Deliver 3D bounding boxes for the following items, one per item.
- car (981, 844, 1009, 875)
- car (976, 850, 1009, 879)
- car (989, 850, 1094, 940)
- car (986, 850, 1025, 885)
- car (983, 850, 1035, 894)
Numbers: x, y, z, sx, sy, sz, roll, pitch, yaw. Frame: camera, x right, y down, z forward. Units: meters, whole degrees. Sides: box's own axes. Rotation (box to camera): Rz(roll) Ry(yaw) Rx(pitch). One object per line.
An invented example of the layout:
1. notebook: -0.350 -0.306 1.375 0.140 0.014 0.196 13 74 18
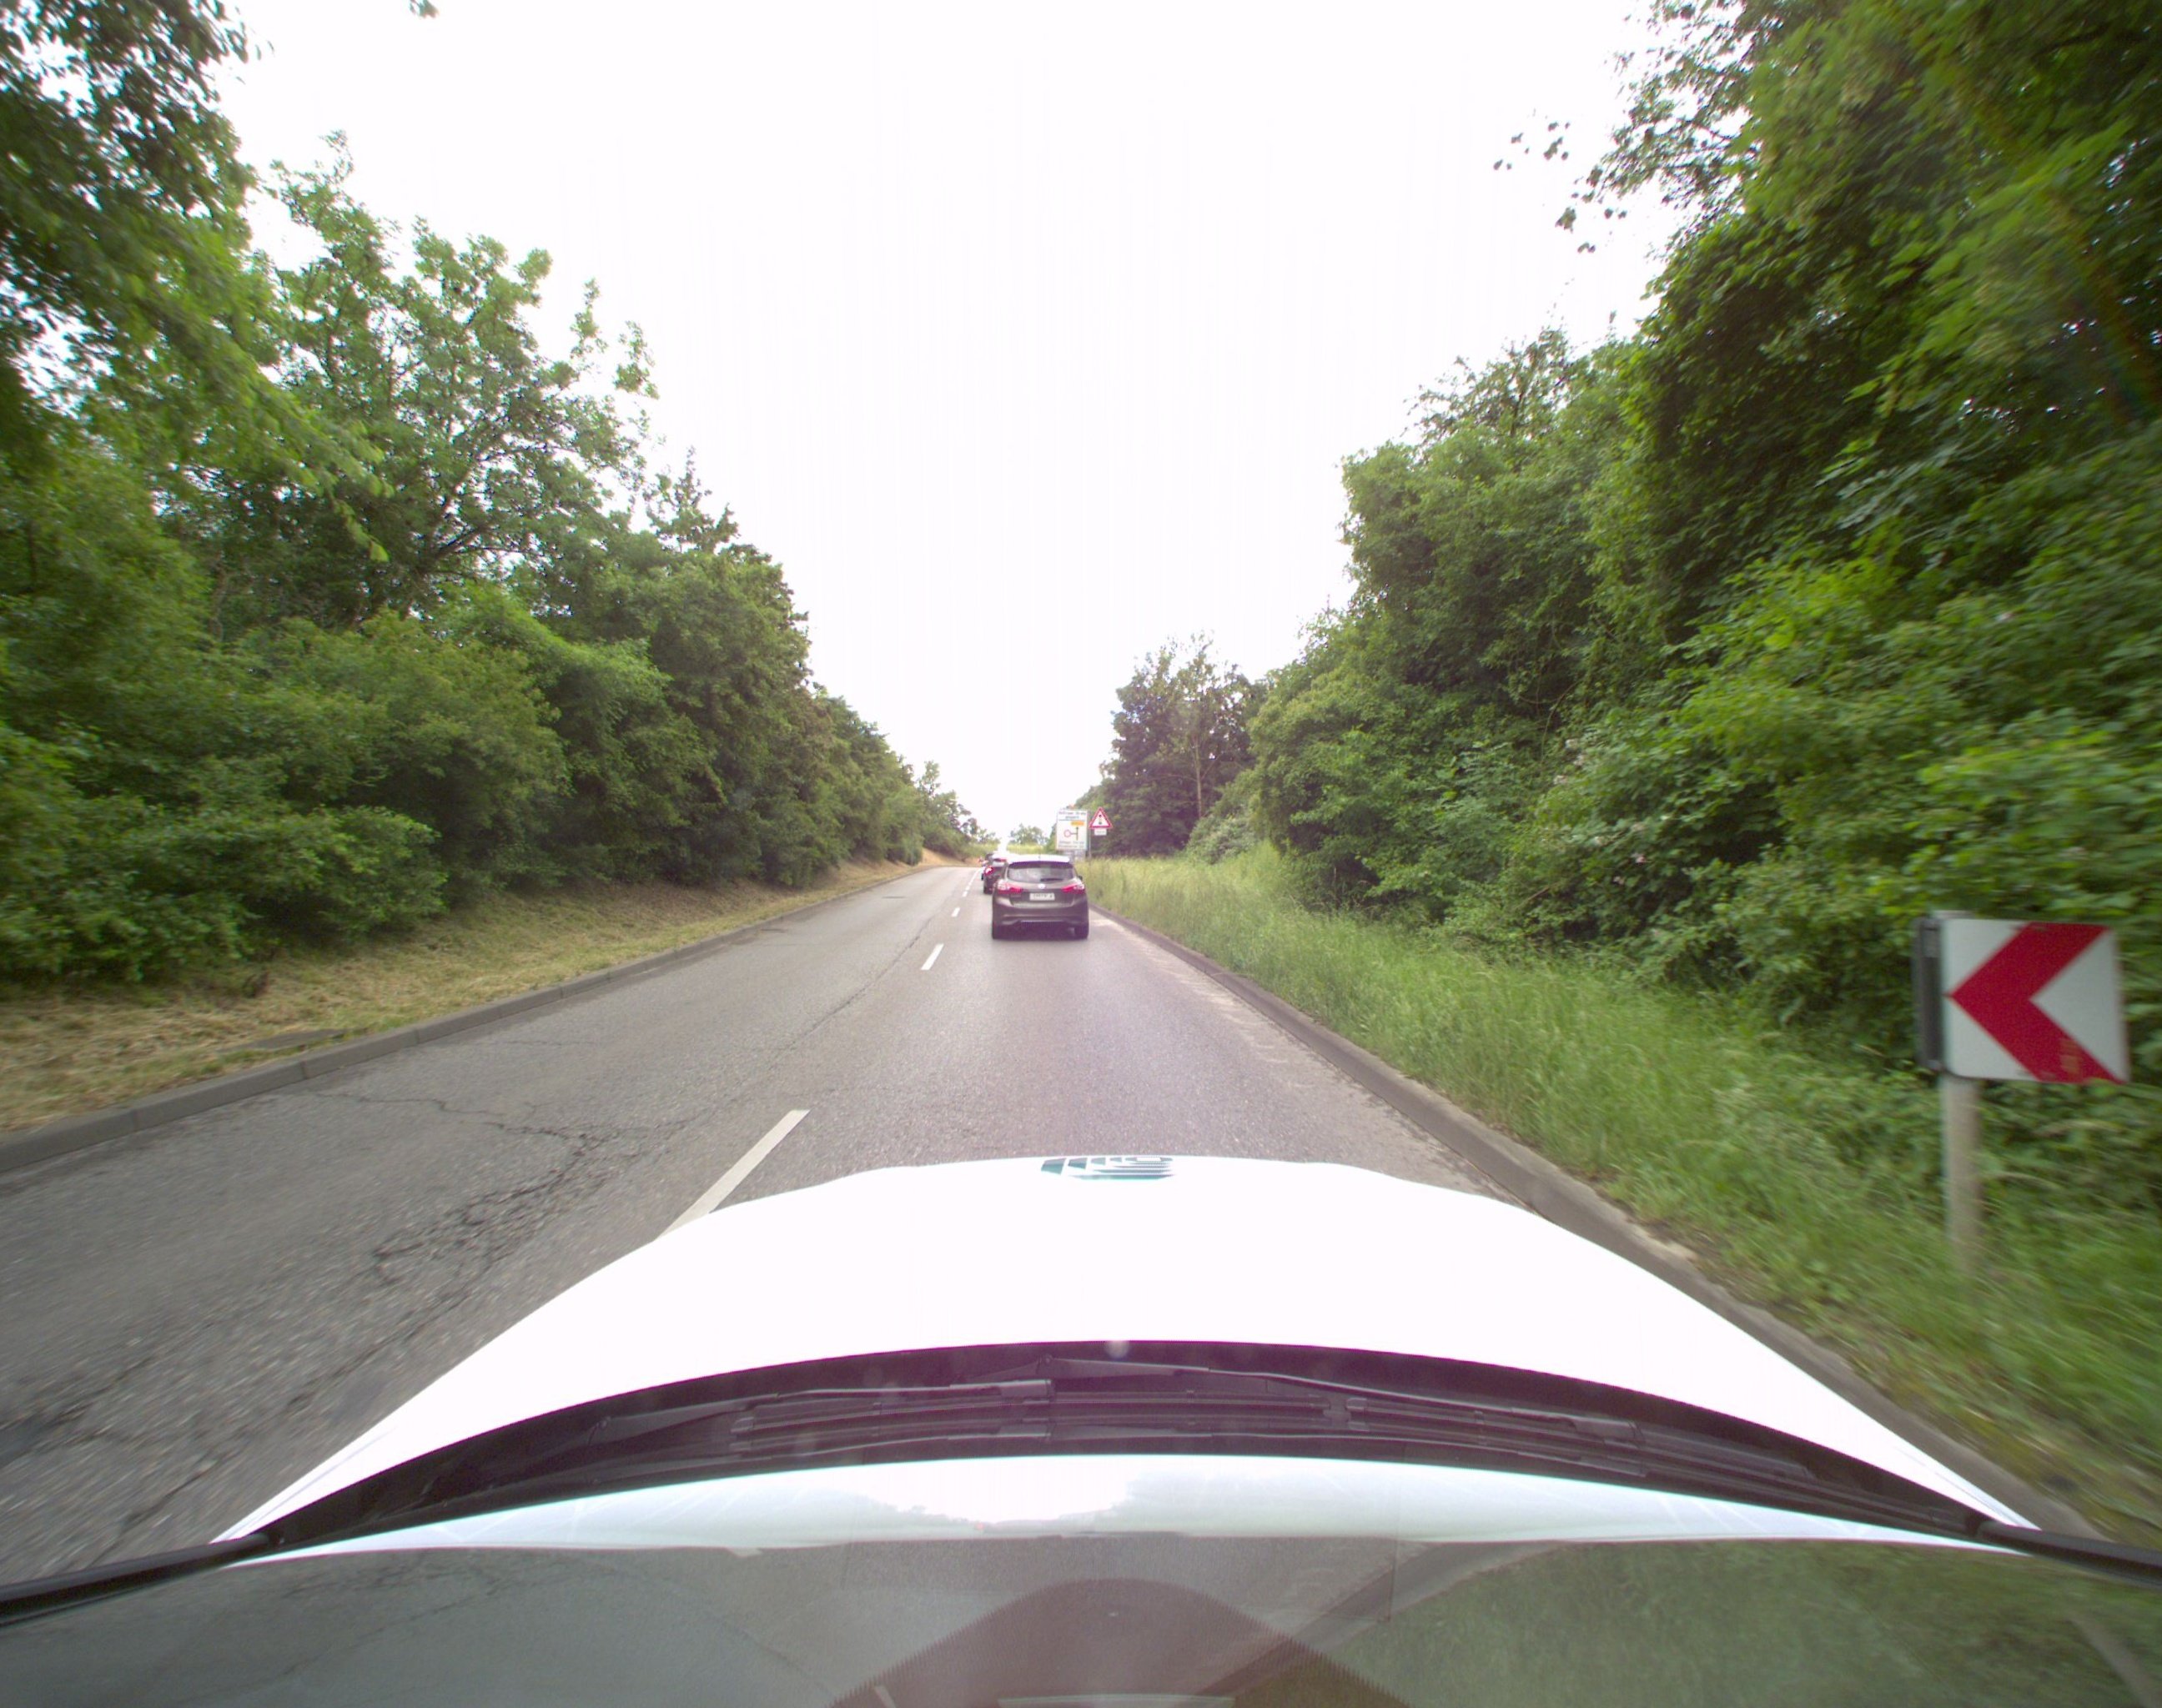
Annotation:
1. car: -5.618 0.322 53.331 1.734 1.935 3.536 -1 0 -6
2. car: -4.959 0.558 45.745 1.734 1.556 3.536 -1 0 -6
3. car: -0.853 0.706 15.932 1.828 1.556 3.492 0 0 -6
4. car: -3.614 0.619 38.812 1.734 1.556 3.536 -1 0 -6
5. car: -2.779 0.653 31.208 1.828 1.556 3.617 -1 0 -6
